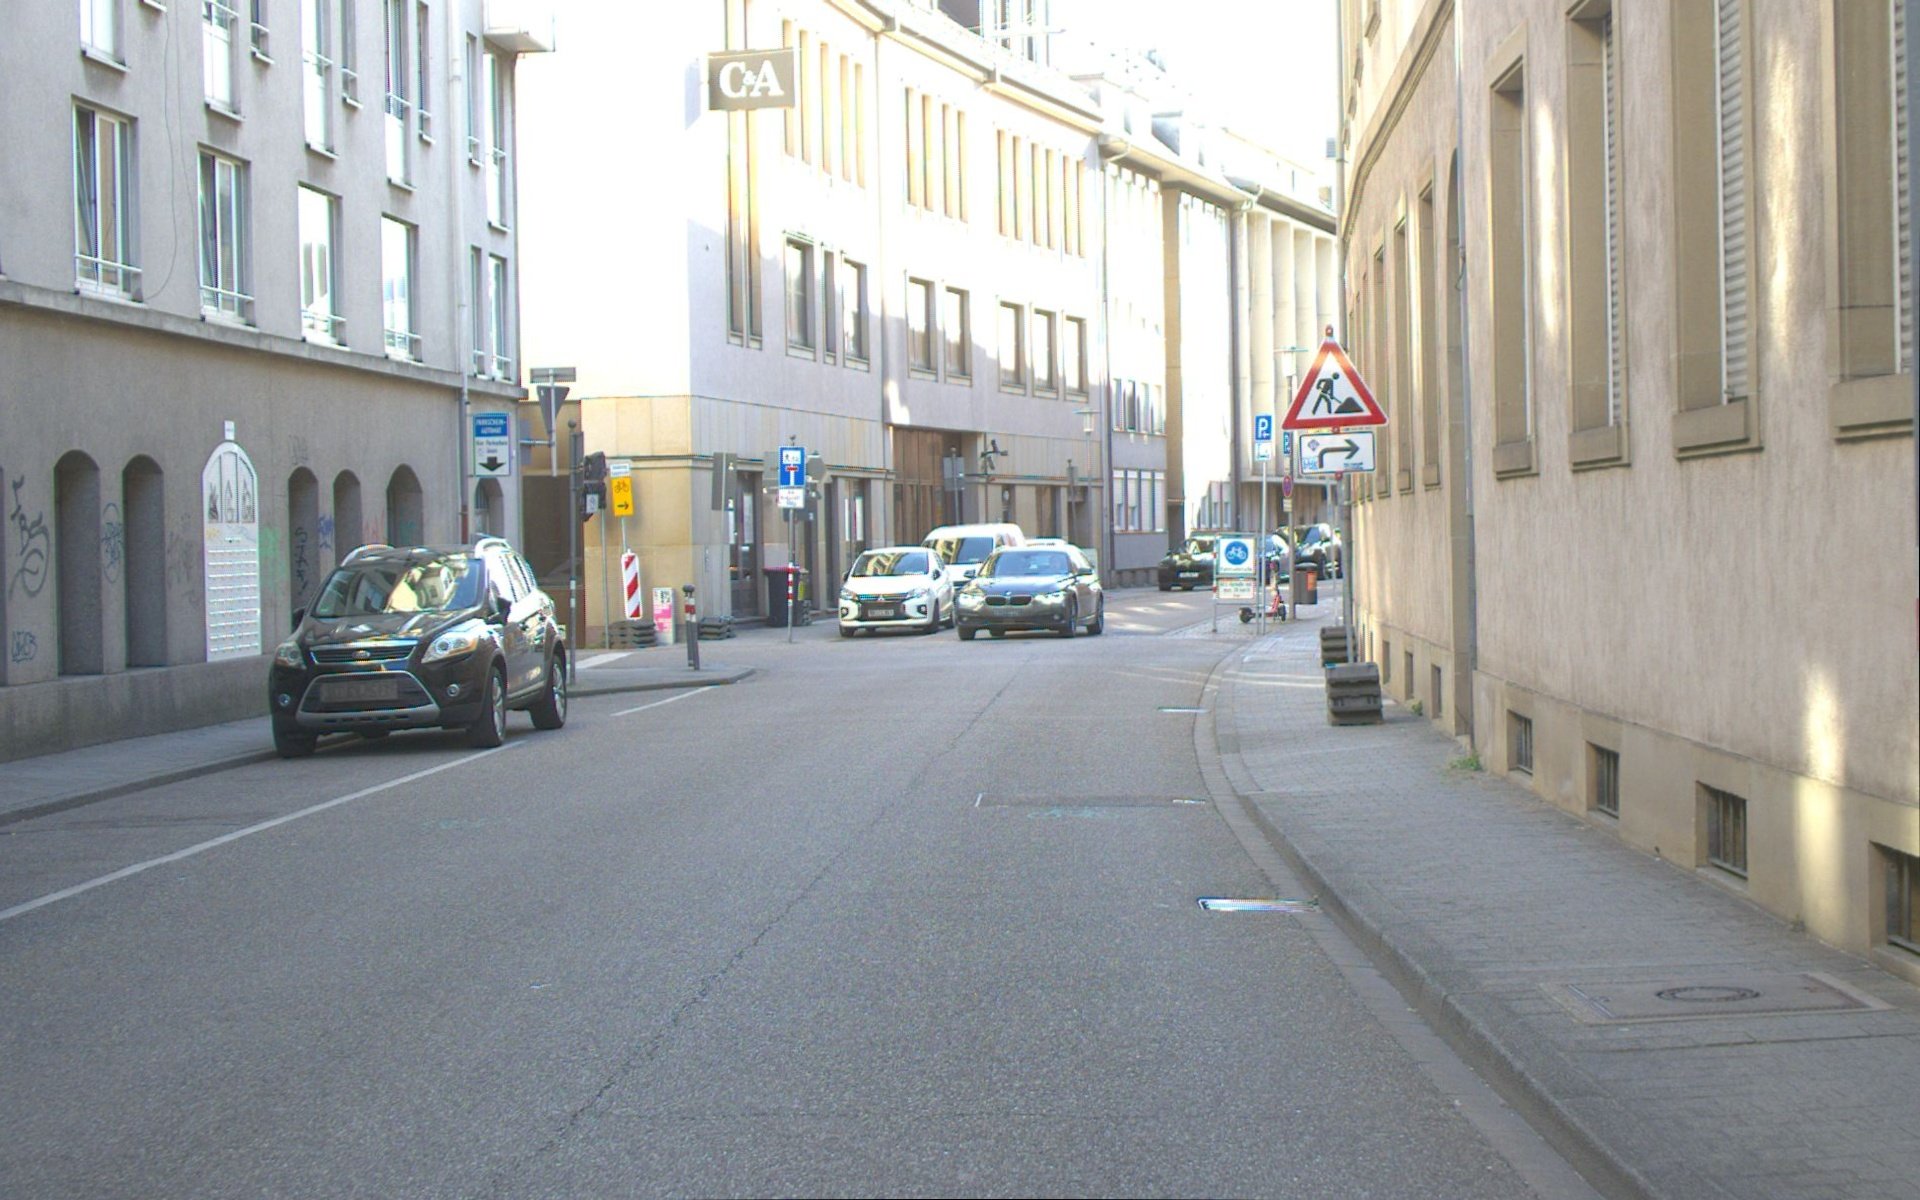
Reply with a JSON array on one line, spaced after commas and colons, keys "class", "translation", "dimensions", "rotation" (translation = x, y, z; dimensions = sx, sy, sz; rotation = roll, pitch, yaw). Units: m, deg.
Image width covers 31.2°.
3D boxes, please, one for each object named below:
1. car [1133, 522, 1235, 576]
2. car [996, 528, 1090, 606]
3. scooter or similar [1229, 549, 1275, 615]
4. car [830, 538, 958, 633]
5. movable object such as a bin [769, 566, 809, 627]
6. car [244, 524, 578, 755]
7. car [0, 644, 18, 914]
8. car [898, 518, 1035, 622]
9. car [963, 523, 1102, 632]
[{"class": "car", "translation": [5.980, -1.368, 91.432], "dimensions": [1.882, 1.327, 4.097], "rotation": [-1, 1, 16]}, {"class": "car", "translation": [1.738, -0.710, 71.251], "dimensions": [1.272, 1.501, 3.400], "rotation": [-2, 1, 12]}, {"class": "scooter or similar", "translation": [5.114, -0.322, 60.180], "dimensions": [0.771, 1.132, 0.269], "rotation": [1, 1, 9]}, {"class": "car", "translation": [-1.100, -0.272, 59.447], "dimensions": [1.671, 1.501, 3.793], "rotation": [-3, 1, 6]}, {"class": "movable object such as a bin", "translation": [-3.026, -0.061, 60.819], "dimensions": [0.609, 1.057, 0.713], "rotation": [1, 1, 3]}, {"class": "car", "translation": [-4.537, 0.264, 29.021], "dimensions": [1.740, 1.705, 4.190], "rotation": [-4, 1, 5]}, {"class": "car", "translation": [-5.106, 0.512, 12.483], "dimensions": [1.880, 1.860, 4.864], "rotation": [-4, 1, 1]}, {"class": "car", "translation": [0.164, -0.603, 65.202], "dimensions": [1.671, 1.812, 4.550], "rotation": [-2, 1, 11]}, {"class": "car", "translation": [1.076, -0.366, 53.088], "dimensions": [1.714, 1.572, 4.191], "rotation": [-1, 1, -4]}]
